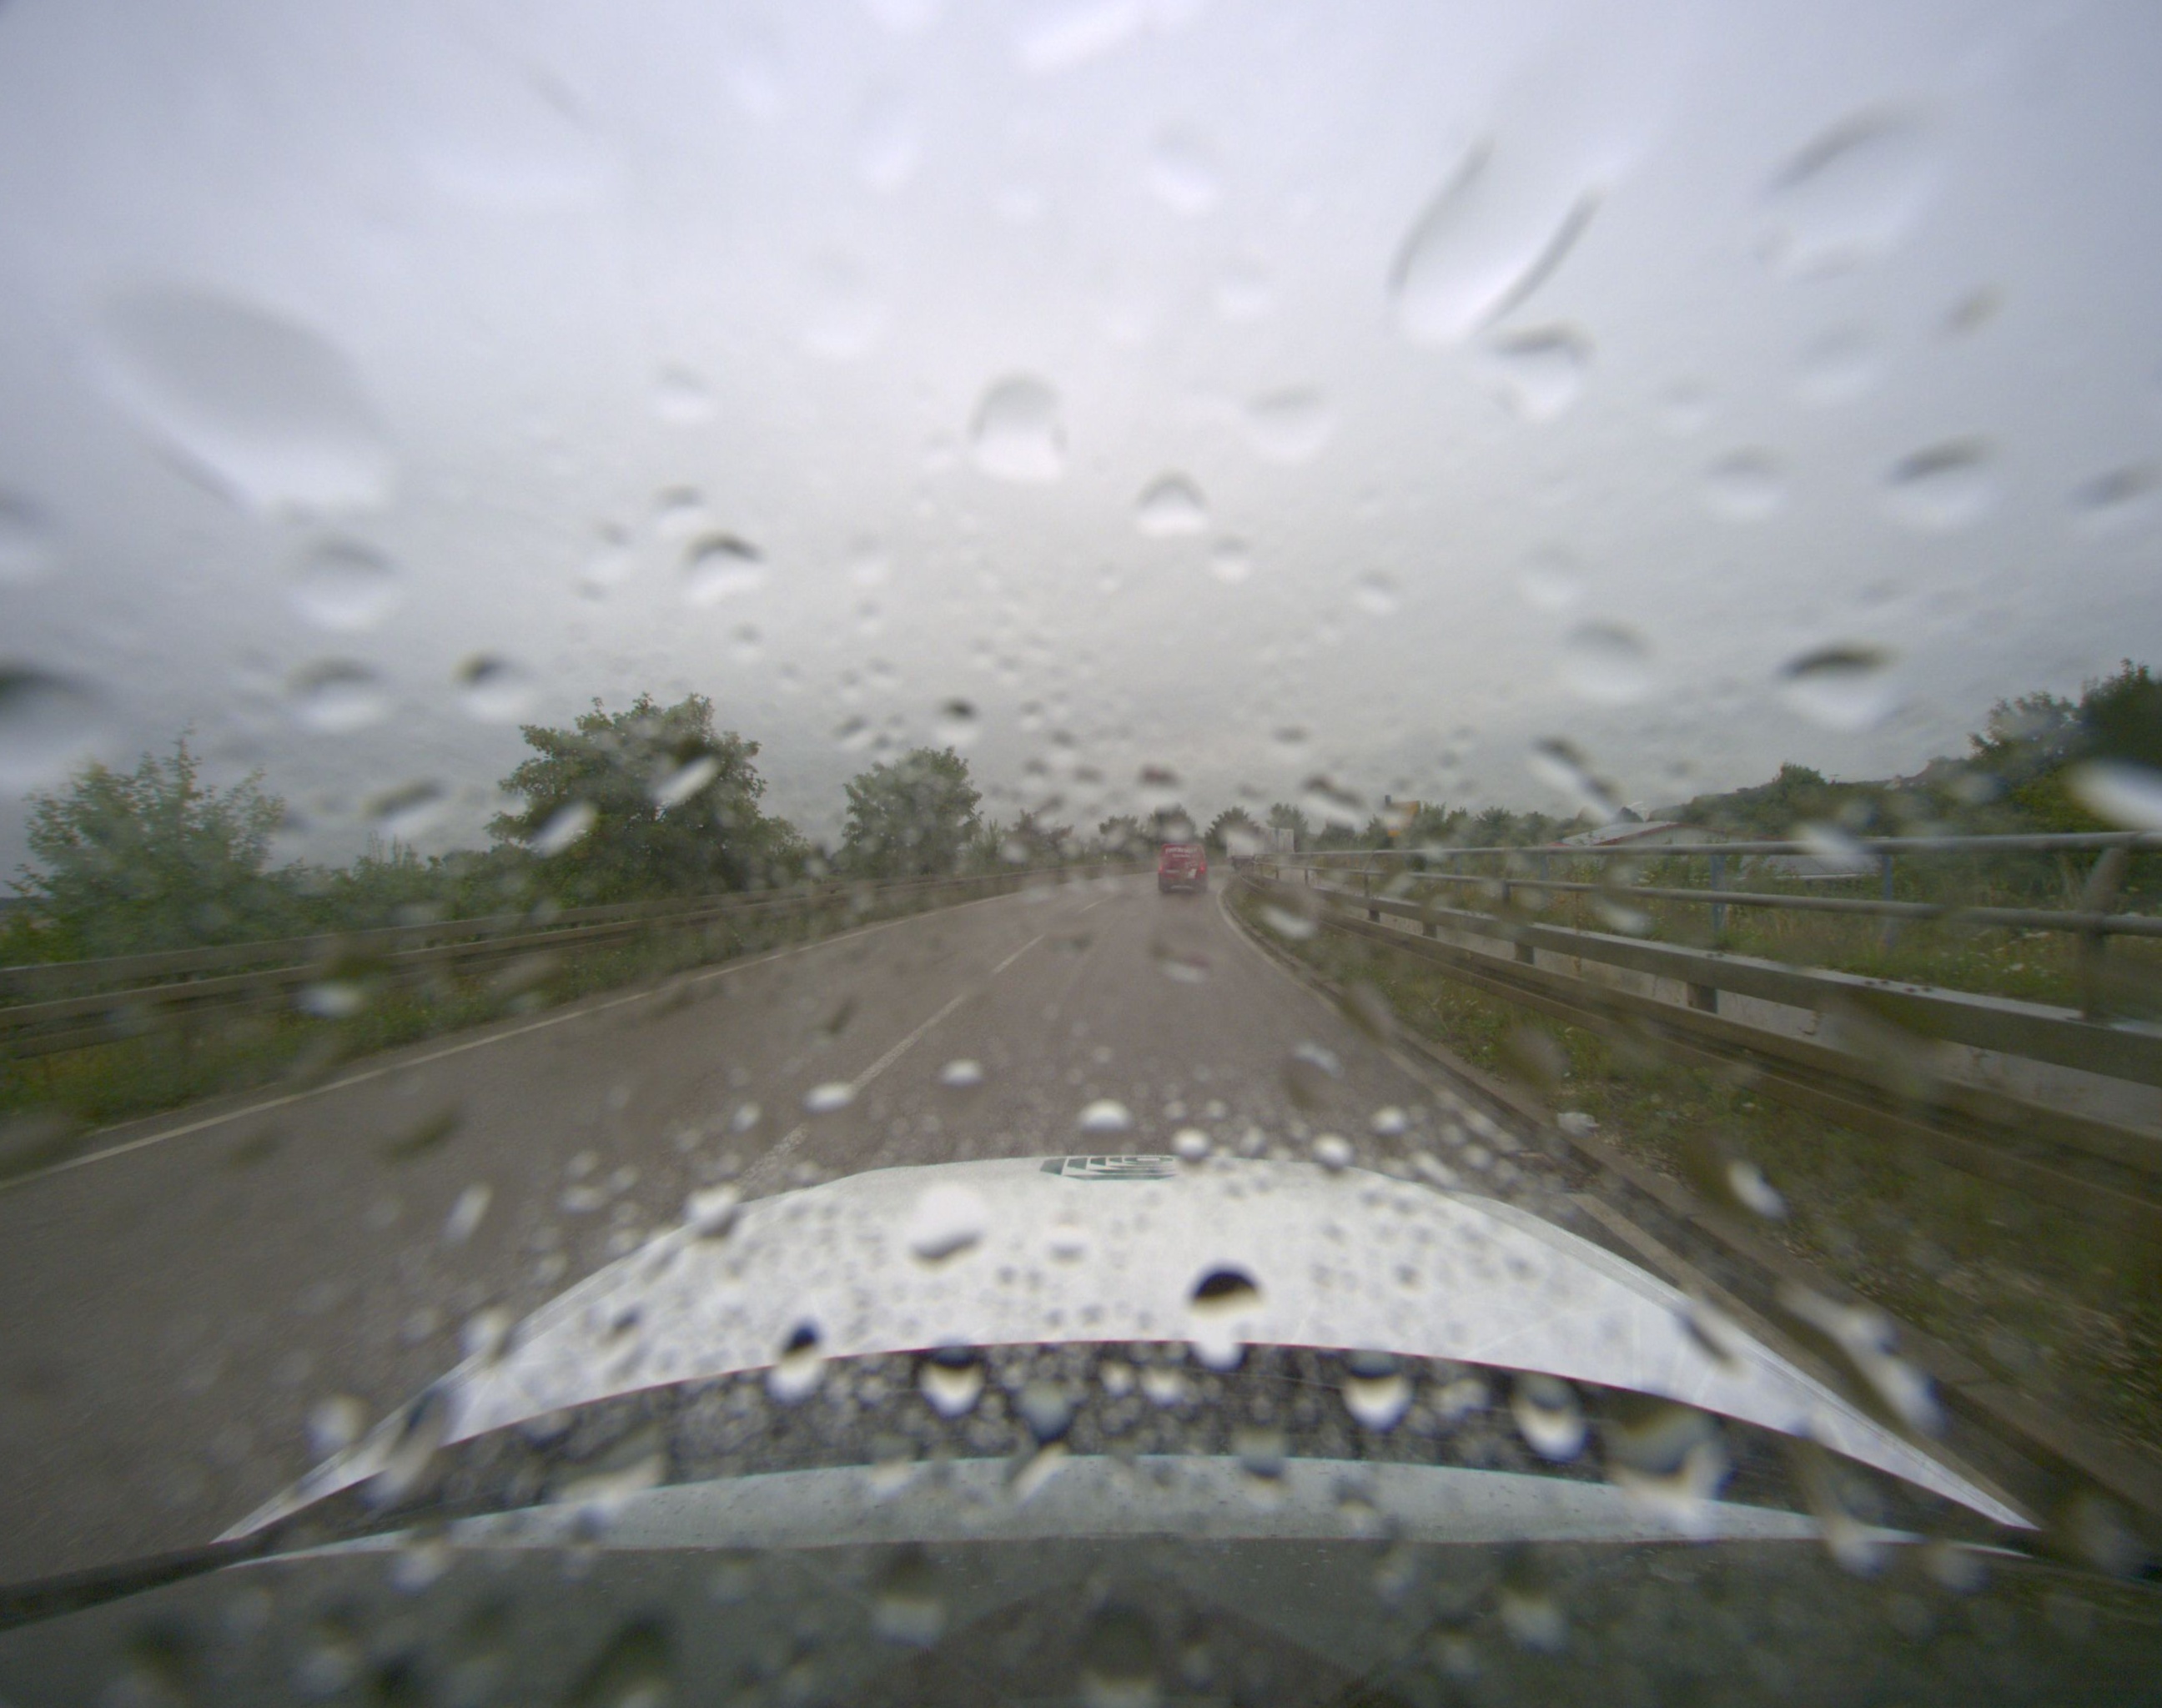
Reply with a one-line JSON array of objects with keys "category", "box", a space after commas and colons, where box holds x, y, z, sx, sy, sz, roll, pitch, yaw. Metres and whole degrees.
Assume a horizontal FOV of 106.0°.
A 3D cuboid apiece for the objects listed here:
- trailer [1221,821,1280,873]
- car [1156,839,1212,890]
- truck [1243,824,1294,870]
[{"category": "trailer", "box": [13.908, -0.563, 66.295, 3.173, 3.921, 8.786, 0, 0, 22]}, {"category": "car", "box": [4.265, 0.361, 33.240, 1.981, 1.925, 4.156, -1, 1, 10]}, {"category": "truck", "box": [17.264, -0.655, 74.433, 3.173, 3.921, 8.786, 0, 0, 22]}]
